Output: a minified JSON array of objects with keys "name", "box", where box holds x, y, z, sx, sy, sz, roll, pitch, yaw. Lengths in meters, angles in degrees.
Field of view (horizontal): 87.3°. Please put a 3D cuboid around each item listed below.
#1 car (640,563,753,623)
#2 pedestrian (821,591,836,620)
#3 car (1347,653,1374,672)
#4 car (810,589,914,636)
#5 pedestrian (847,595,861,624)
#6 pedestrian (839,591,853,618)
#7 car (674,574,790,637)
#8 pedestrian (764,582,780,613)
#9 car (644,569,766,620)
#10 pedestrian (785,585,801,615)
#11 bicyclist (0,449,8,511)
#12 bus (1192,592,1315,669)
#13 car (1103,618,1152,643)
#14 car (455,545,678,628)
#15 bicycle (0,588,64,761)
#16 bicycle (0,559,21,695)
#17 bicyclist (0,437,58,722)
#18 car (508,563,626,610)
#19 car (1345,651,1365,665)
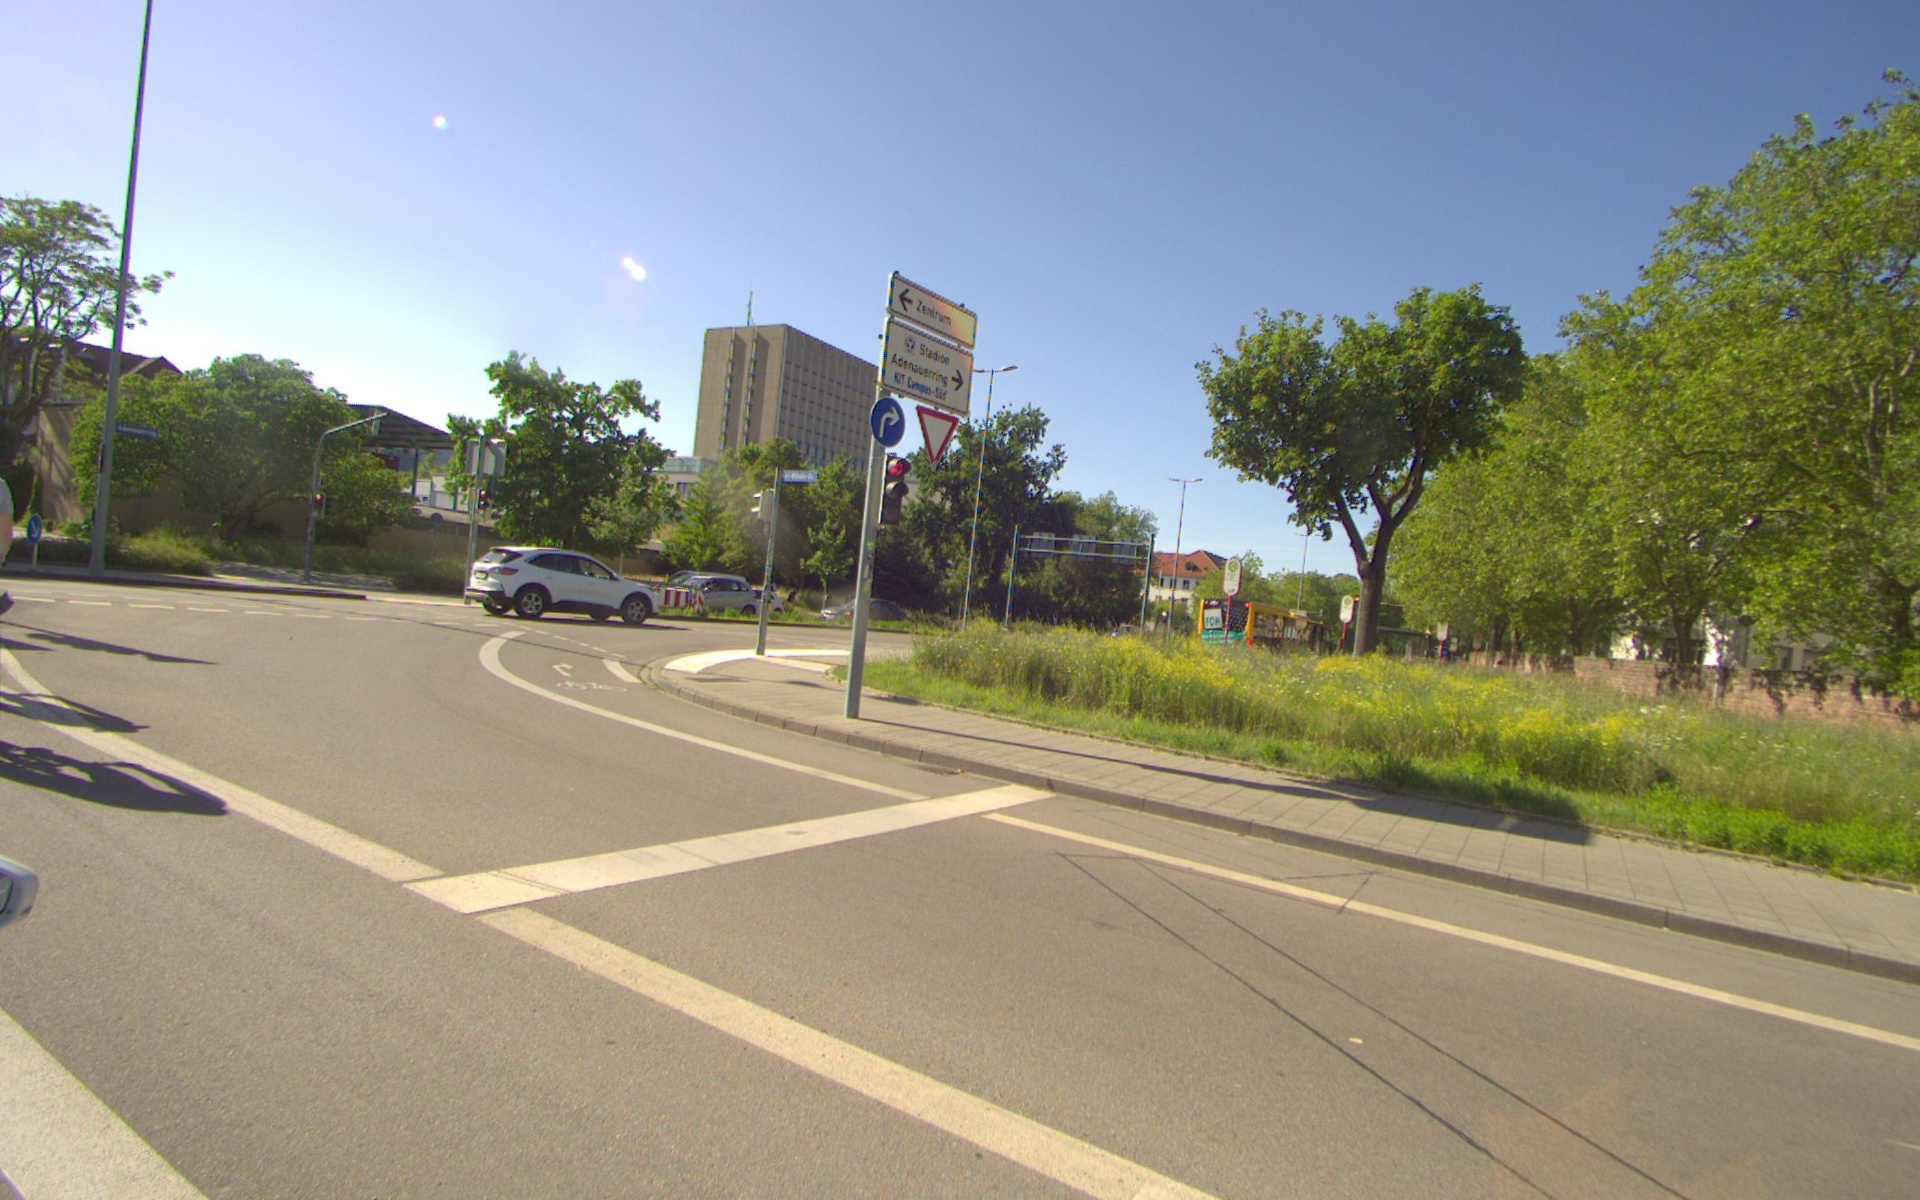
[{"name":"car","box":[-12.308,-0.274,47.325,1.968,2.131,4.885,6,-2,34]},{"name":"pedestrian","box":[-8.498,0.363,64.976,0.519,1.801,0.561,7,1,35]},{"name":"car","box":[35.395,5.533,88.823,1.811,1.405,4.066,6,0,26]},{"name":"car","box":[-4.283,0.582,44.739,1.968,1.604,4.736,6,0,33]},{"name":"pedestrian","box":[-7.029,0.619,66.521,0.519,1.801,0.561,7,1,35]},{"name":"pedestrian","box":[-7.570,0.270,66.840,0.519,1.716,0.561,7,1,35]},{"name":"car","box":[-10.111,0.279,44.919,1.969,2.186,4.783,6,-2,35]},{"name":"pedestrian","box":[-11.481,-0.165,61.481,0.519,1.801,0.561,7,1,35]},{"name":"car","box":[-9.432,-0.171,37.425,1.840,1.426,4.046,6,0,38]},{"name":"pedestrian","box":[-10.185,-0.005,61.323,0.519,1.801,0.561,7,1,35]},{"name":"bicyclist","box":[-8.134,-0.372,7.775,1.048,1.759,0.647,7,-1,26]},{"name":"bus","box":[14.339,1.586,48.468,2.751,2.662,10.098,6,-2,33]},{"name":"car","box":[13.173,2.435,78.850,1.968,1.547,4.473,6,0,34]},{"name":"car","box":[-9.378,-0.270,24.339,1.818,1.639,4.679,3,-1,40]},{"name":"bicycle","box":[-6.292,0.355,6.086,1.946,0.906,0.741,6,-2,33]},{"name":"bicycle","box":[-8.200,0.089,7.770,1.935,1.014,0.661,6,-1,26]},{"name":"bicyclist","box":[-6.221,-0.178,6.086,1.000,1.688,0.752,6,-1,33]},{"name":"car","box":[-16.088,-0.515,41.335,1.717,1.453,4.162,7,0,38]},{"name":"car","box":[48.538,7.141,123.575,1.812,1.405,4.066,4,-2,27]}]
